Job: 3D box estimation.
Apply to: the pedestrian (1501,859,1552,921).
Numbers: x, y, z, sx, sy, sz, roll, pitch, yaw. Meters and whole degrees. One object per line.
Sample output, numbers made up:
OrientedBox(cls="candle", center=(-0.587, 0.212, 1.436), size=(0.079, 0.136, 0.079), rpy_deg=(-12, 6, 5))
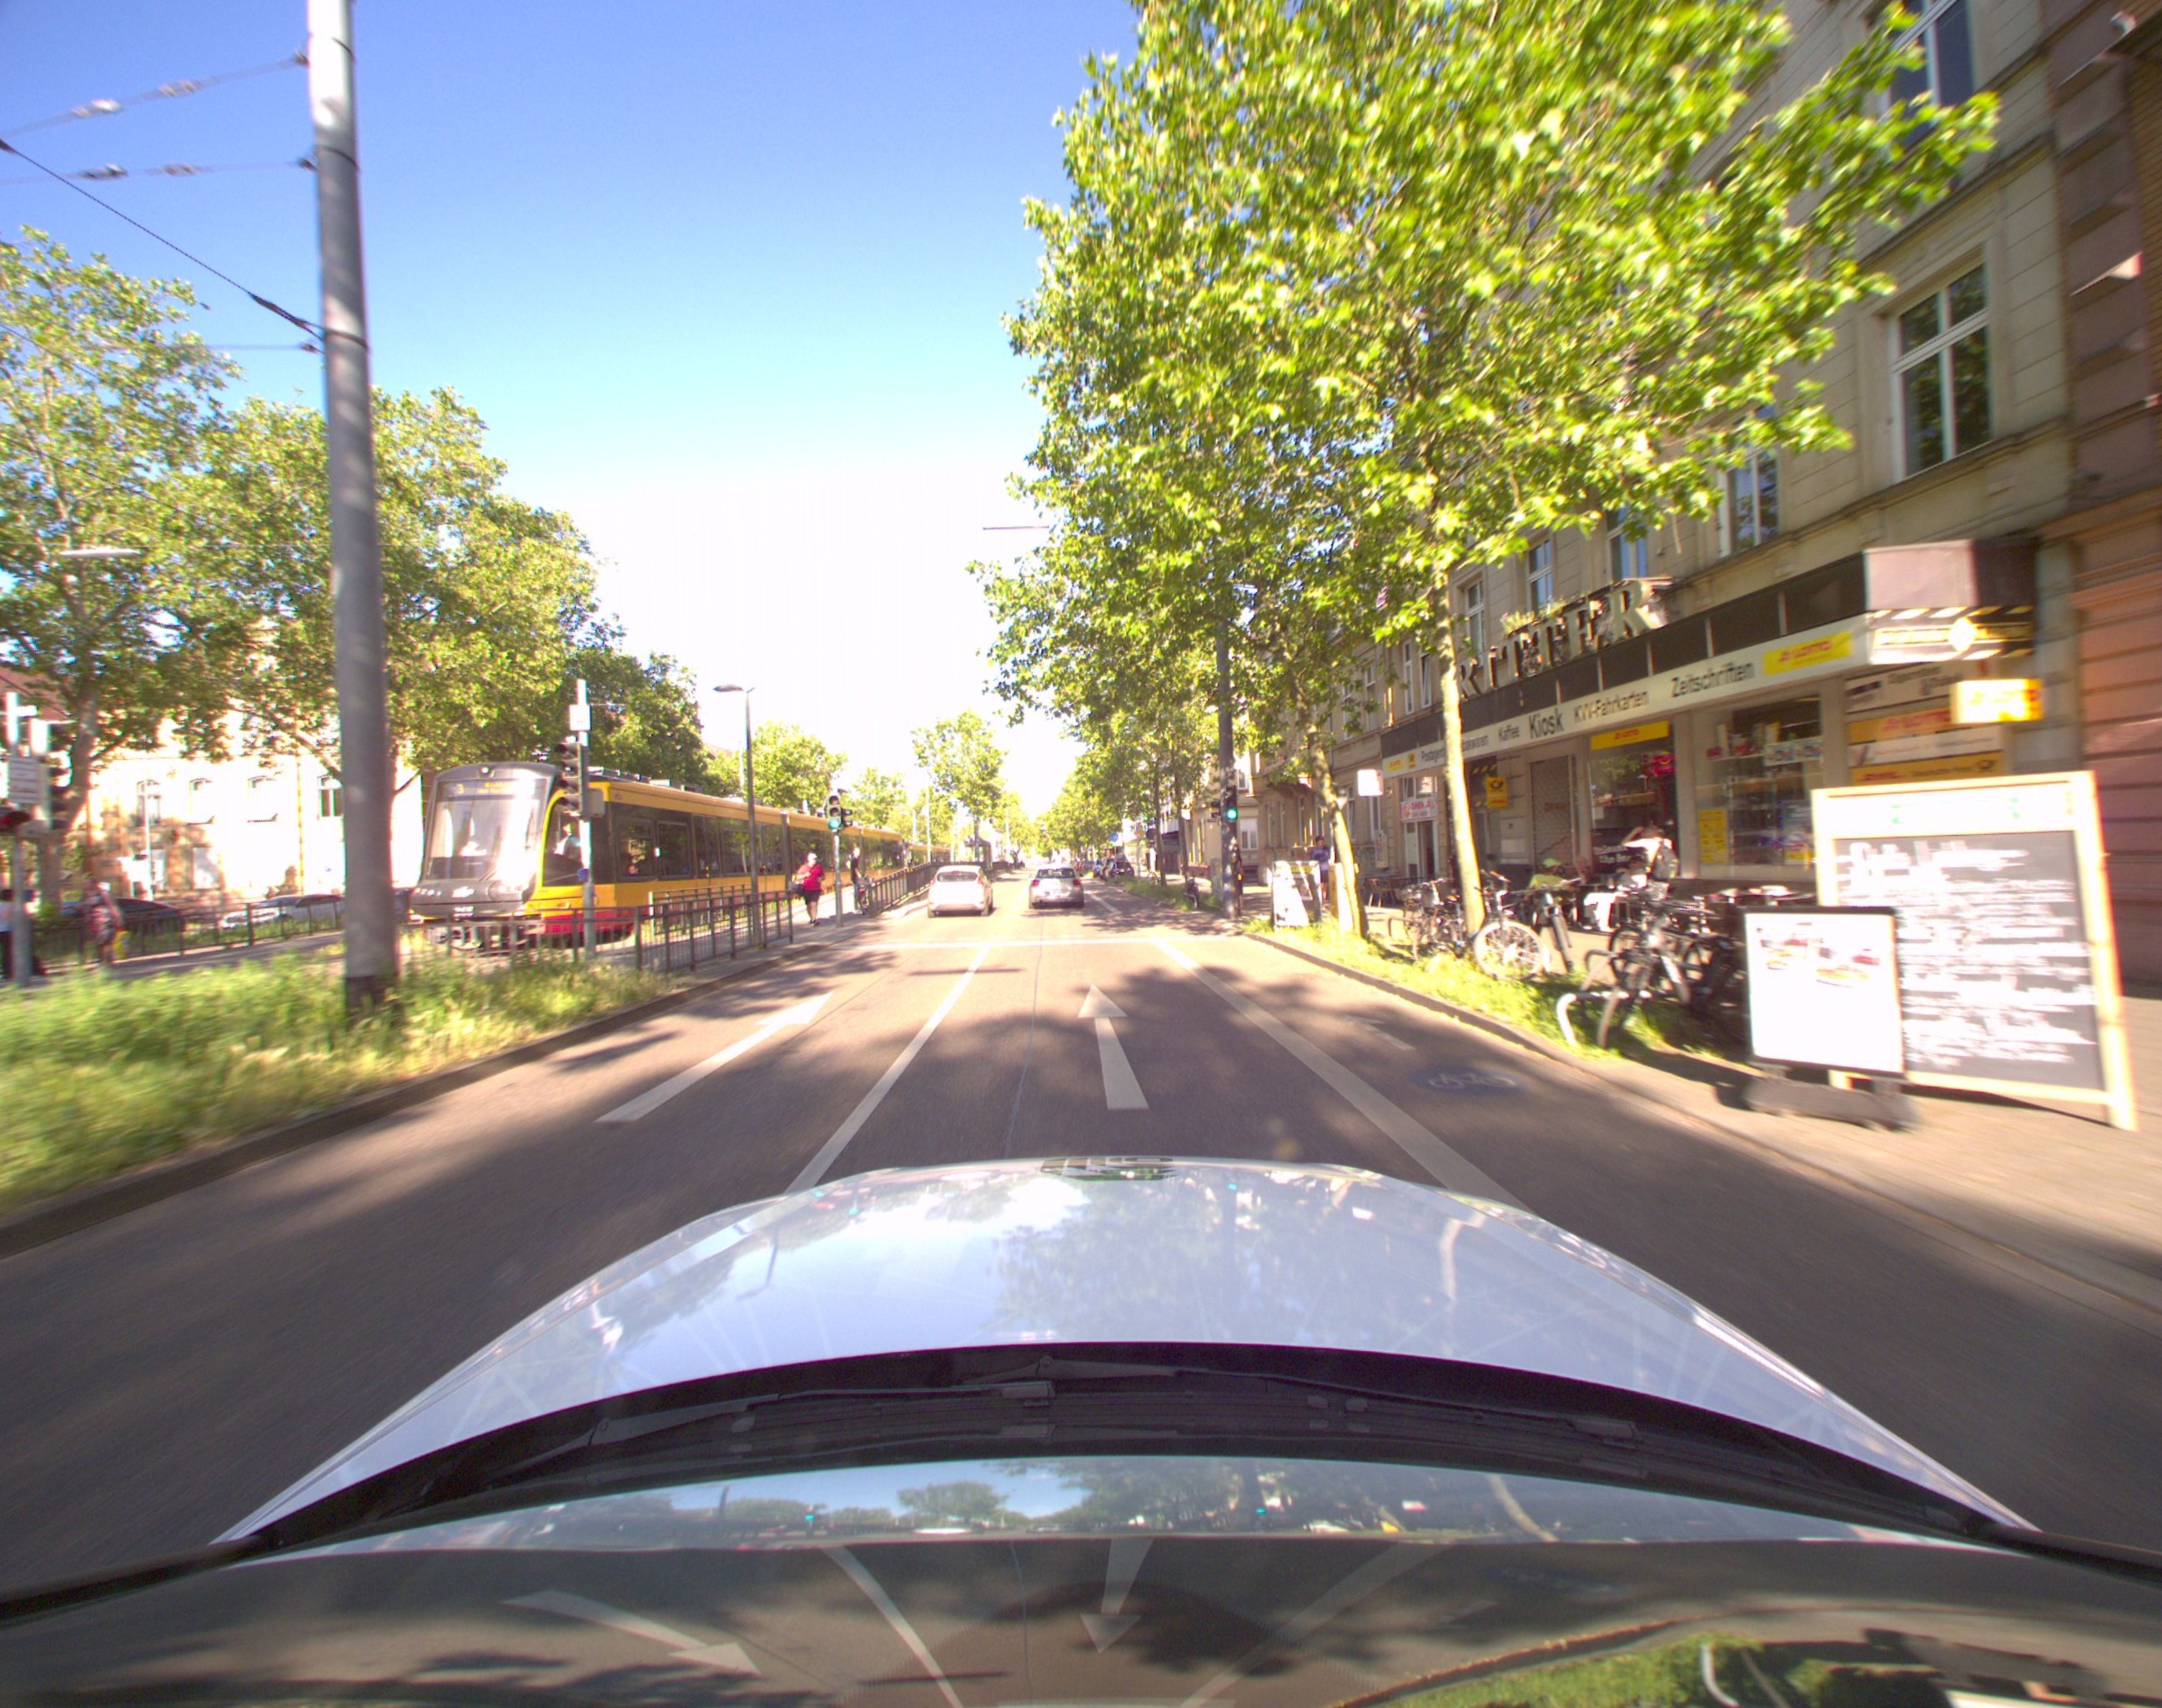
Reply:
OrientedBox(cls="pedestrian", center=(8.695, 0.691, 15.904), size=(0.656, 1.161, 0.666), rpy_deg=(-1, 0, -39))

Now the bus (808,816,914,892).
OrientedBox(cls="bus", center=(-11.559, 0.070, 44.235), size=(2.862, 3.444, 11.600), rpy_deg=(-2, -1, -2))

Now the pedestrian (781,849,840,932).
OrientedBox(cls="pedestrian", center=(-6.585, 0.863, 19.892), size=(1.070, 1.916, 1.125), rpy_deg=(-2, -1, -5))

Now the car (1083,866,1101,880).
OrientedBox(cls="car", center=(1.301, 2.267, 97.871), size=(1.988, 1.509, 4.593), rpy_deg=(-1, -1, -2))

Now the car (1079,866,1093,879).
OrientedBox(cls="car", center=(0.619, 2.294, 102.992), size=(1.665, 1.551, 3.997), rpy_deg=(-1, 0, -2))

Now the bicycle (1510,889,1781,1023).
OrientedBox(cls="bicycle", center=(4.597, 0.808, 6.662), size=(2.010, 0.993, 0.443), rpy_deg=(-1, 0, -5))

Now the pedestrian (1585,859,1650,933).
OrientedBox(cls="pedestrian", center=(8.733, 0.670, 13.266), size=(0.646, 1.161, 0.608), rpy_deg=(-1, 0, -14))

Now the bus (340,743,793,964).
OrientedBox(cls="bus", center=(-10.587, 0.059, 19.676), size=(2.862, 3.444, 13.204), rpy_deg=(-2, -1, -2))

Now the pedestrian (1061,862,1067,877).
OrientedBox(cls="pedestrian", center=(-2.444, 2.197, 116.174), size=(0.834, 2.013, 0.649), rpy_deg=(-1, 0, 4))

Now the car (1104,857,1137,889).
OrientedBox(cls="car", center=(2.669, 1.268, 56.214), size=(1.750, 1.965, 4.732), rpy_deg=(-2, 0, -3))

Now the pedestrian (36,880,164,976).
OrientedBox(cls="pedestrian", center=(-17.965, 1.327, 14.950), size=(1.177, 1.643, 0.890), rpy_deg=(-2, -1, -10))

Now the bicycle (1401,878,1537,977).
OrientedBox(cls="bicycle", center=(4.526, 0.817, 9.628), size=(0.444, 0.993, 1.679), rpy_deg=(-1, 0, -17))

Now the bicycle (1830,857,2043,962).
OrientedBox(cls="bicycle", center=(9.039, 0.534, 8.707), size=(0.442, 0.993, 1.686), rpy_deg=(-1, 0, -3))

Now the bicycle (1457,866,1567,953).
OrientedBox(cls="bicycle", center=(5.541, 0.675, 10.571), size=(0.442, 0.993, 1.686), rpy_deg=(-1, 0, -3))

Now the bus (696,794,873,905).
OrientedBox(cls="bus", center=(-11.090, -0.083, 32.282), size=(2.862, 3.444, 12.203), rpy_deg=(-2, -1, -2))

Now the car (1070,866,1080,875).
OrientedBox(cls="car", center=(-1.148, 2.911, 144.954), size=(1.696, 1.534, 3.713), rpy_deg=(-1, 0, -2))

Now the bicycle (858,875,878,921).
OrientedBox(cls="bicycle", center=(-6.060, 1.225, 23.210), size=(0.328, 1.214, 1.823), rpy_deg=(-2, -1, -8))

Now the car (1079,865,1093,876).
OrientedBox(cls="car", center=(0.699, 2.286, 113.296), size=(1.801, 1.520, 3.996), rpy_deg=(-1, -1, -2))

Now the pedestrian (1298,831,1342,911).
OrientedBox(cls="pedestrian", center=(6.175, 0.420, 21.073), size=(0.879, 2.013, 0.857), rpy_deg=(-1, 0, 1))

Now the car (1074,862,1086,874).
OrientedBox(cls="car", center=(-0.174, 2.164, 128.798), size=(1.720, 1.880, 3.996), rpy_deg=(-1, 0, -2))

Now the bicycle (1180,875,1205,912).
OrientedBox(cls="bicycle", center=(3.292, 1.151, 24.158), size=(0.427, 0.970, 1.749), rpy_deg=(-1, 0, -2))

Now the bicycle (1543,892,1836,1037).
OrientedBox(cls="bicycle", center=(4.599, 0.813, 6.186), size=(2.000, 0.993, 0.443), rpy_deg=(-1, 0, -5))

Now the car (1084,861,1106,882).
OrientedBox(cls="car", center=(1.204, 1.479, 71.531), size=(1.688, 1.658, 4.035), rpy_deg=(-2, 1, -3))

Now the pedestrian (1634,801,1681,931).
OrientedBox(cls="pedestrian", center=(8.348, 0.162, 11.809), size=(0.463, 1.810, 0.779), rpy_deg=(-1, 0, 29))

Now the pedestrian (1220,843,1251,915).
OrientedBox(cls="pedestrian", center=(3.859, 0.611, 20.414), size=(0.639, 1.771, 0.869), rpy_deg=(-1, 0, 3))

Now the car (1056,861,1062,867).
OrientedBox(cls="car", center=(-7.165, 3.154, 262.025), size=(1.988, 2.014, 3.997), rpy_deg=(-2, -1, -2))

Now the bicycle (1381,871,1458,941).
OrientedBox(cls="bicycle", center=(5.396, 0.799, 13.067), size=(0.442, 0.993, 1.686), rpy_deg=(-1, 0, -3))

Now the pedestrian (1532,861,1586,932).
OrientedBox(cls="pedestrian", center=(8.221, 0.714, 14.013), size=(0.776, 1.161, 0.465), rpy_deg=(-1, 0, -28))

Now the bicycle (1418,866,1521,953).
OrientedBox(cls="bicycle", center=(5.014, 0.677, 10.620), size=(0.442, 0.993, 1.686), rpy_deg=(-1, 0, -3))

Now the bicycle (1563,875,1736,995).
OrientedBox(cls="bicycle", center=(5.490, 0.731, 7.993), size=(0.442, 0.993, 1.686), rpy_deg=(-1, 0, -3))

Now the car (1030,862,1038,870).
OrientedBox(cls="car", center=(-13.736, 3.531, 237.680), size=(1.988, 2.013, 3.997), rpy_deg=(-1, 0, -2))

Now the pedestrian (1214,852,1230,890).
OrientedBox(cls="pedestrian", center=(7.082, 0.842, 40.863), size=(0.563, 1.827, 0.957), rpy_deg=(-1, 0, -6))

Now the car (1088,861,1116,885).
OrientedBox(cls="car", center=(1.598, 1.454, 62.721), size=(1.794, 1.700, 4.732), rpy_deg=(-2, -1, -3))

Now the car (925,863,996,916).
OrientedBox(cls="car", center=(-3.450, 0.973, 23.928), size=(1.642, 1.363, 3.757), rpy_deg=(-1, 0, -2))

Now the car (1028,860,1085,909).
OrientedBox(cls="car", center=(-0.856, 0.967, 27.207), size=(1.758, 1.432, 3.995), rpy_deg=(-1, 0, -3))

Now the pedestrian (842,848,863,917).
OrientedBox(cls="pedestrian", center=(-6.486, 0.802, 23.167), size=(0.450, 1.903, 0.583), rpy_deg=(-2, -1, -10))
